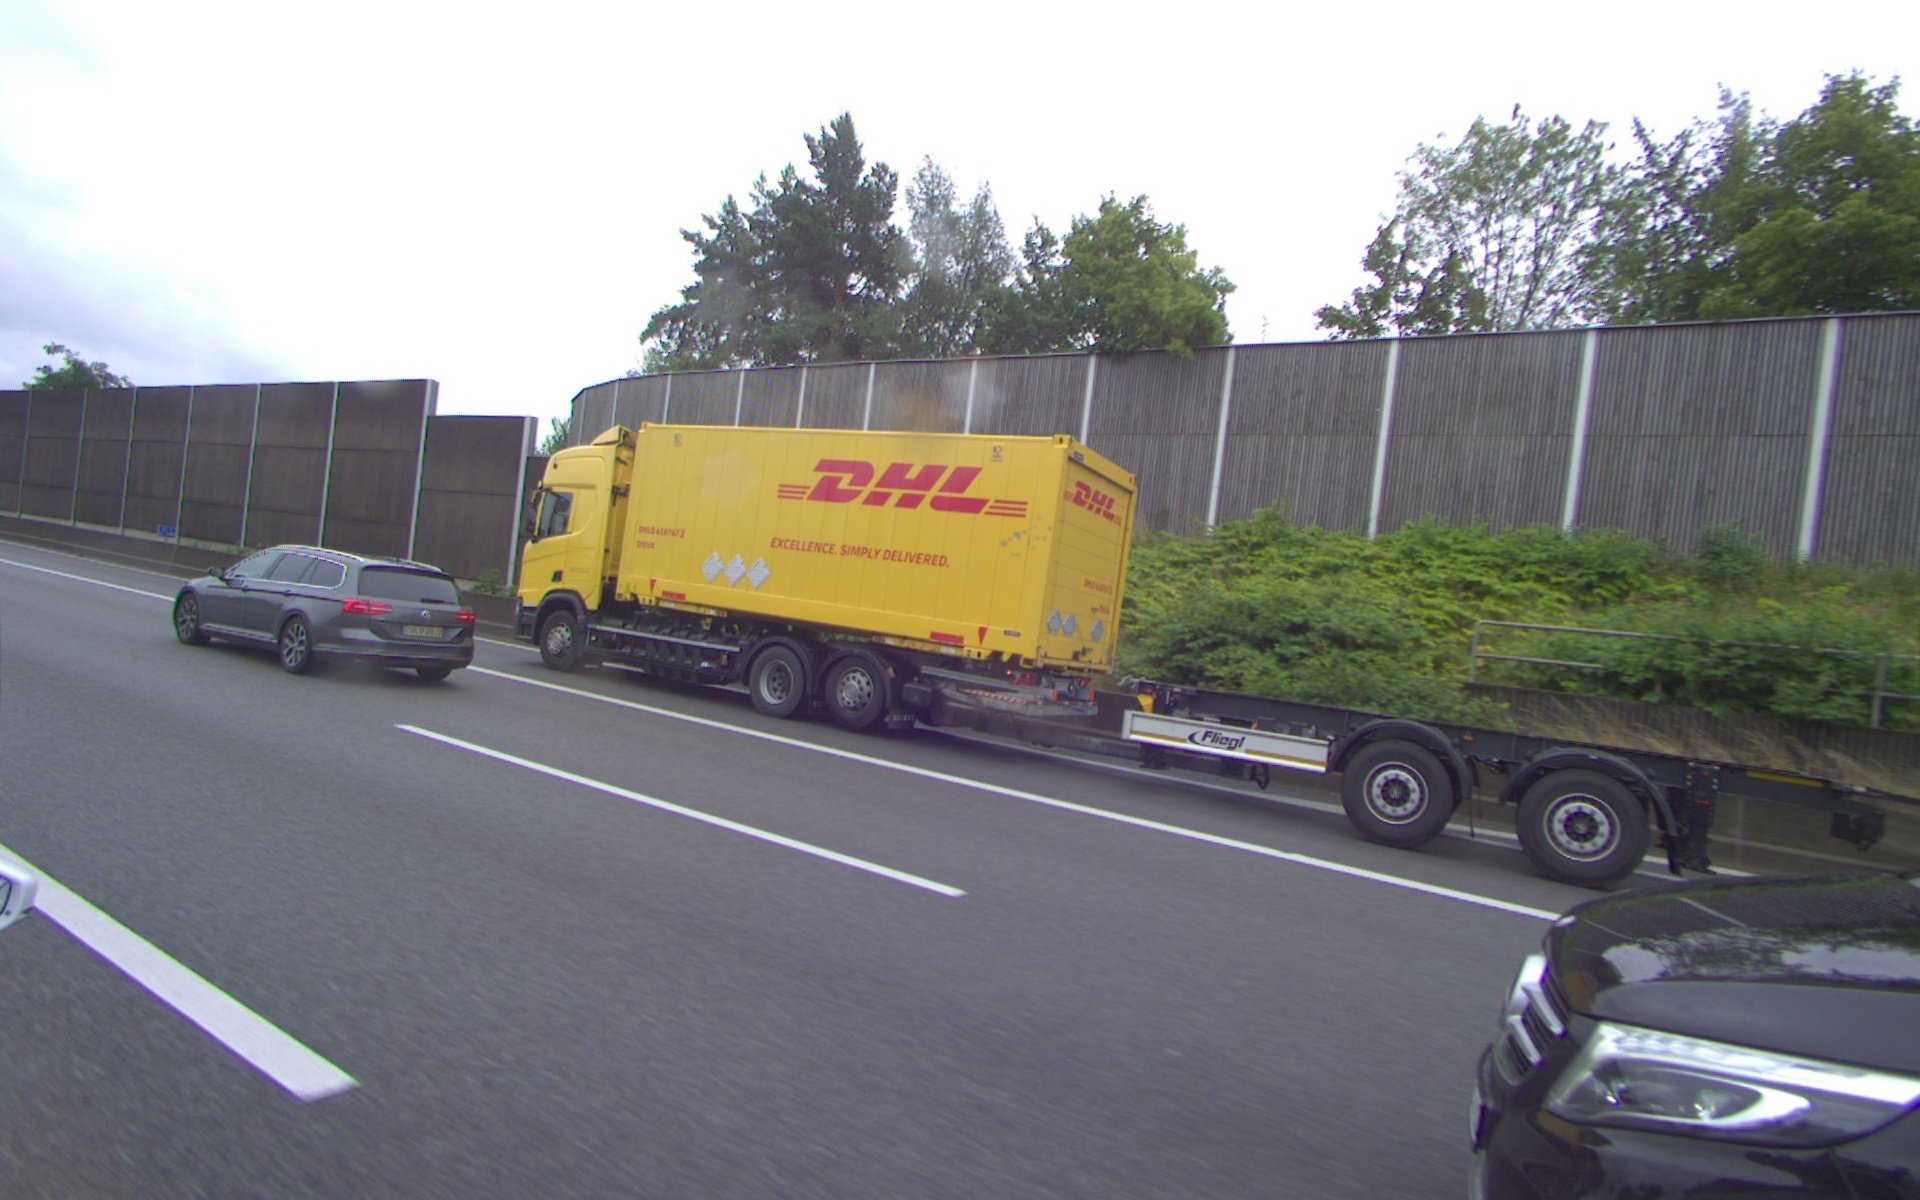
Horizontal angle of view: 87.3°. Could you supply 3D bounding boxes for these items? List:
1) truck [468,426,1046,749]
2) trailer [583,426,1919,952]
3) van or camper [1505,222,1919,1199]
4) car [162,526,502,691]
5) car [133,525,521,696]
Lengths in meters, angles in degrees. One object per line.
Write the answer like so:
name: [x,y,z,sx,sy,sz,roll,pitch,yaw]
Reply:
truck: [-3.563,-0.425,16.002,9.170,4.003,2.692,6,-2,31]
trailer: [2.039,0.169,12.624,16.407,3.998,2.657,6,-2,31]
van or camper: [3.872,0.866,1.109,5.585,2.296,1.893,6,-1,32]
car: [-7.905,0.071,12.552,4.396,1.473,1.667,6,-2,31]
car: [-8.155,0.087,12.806,5.200,1.443,1.944,7,-2,31]
